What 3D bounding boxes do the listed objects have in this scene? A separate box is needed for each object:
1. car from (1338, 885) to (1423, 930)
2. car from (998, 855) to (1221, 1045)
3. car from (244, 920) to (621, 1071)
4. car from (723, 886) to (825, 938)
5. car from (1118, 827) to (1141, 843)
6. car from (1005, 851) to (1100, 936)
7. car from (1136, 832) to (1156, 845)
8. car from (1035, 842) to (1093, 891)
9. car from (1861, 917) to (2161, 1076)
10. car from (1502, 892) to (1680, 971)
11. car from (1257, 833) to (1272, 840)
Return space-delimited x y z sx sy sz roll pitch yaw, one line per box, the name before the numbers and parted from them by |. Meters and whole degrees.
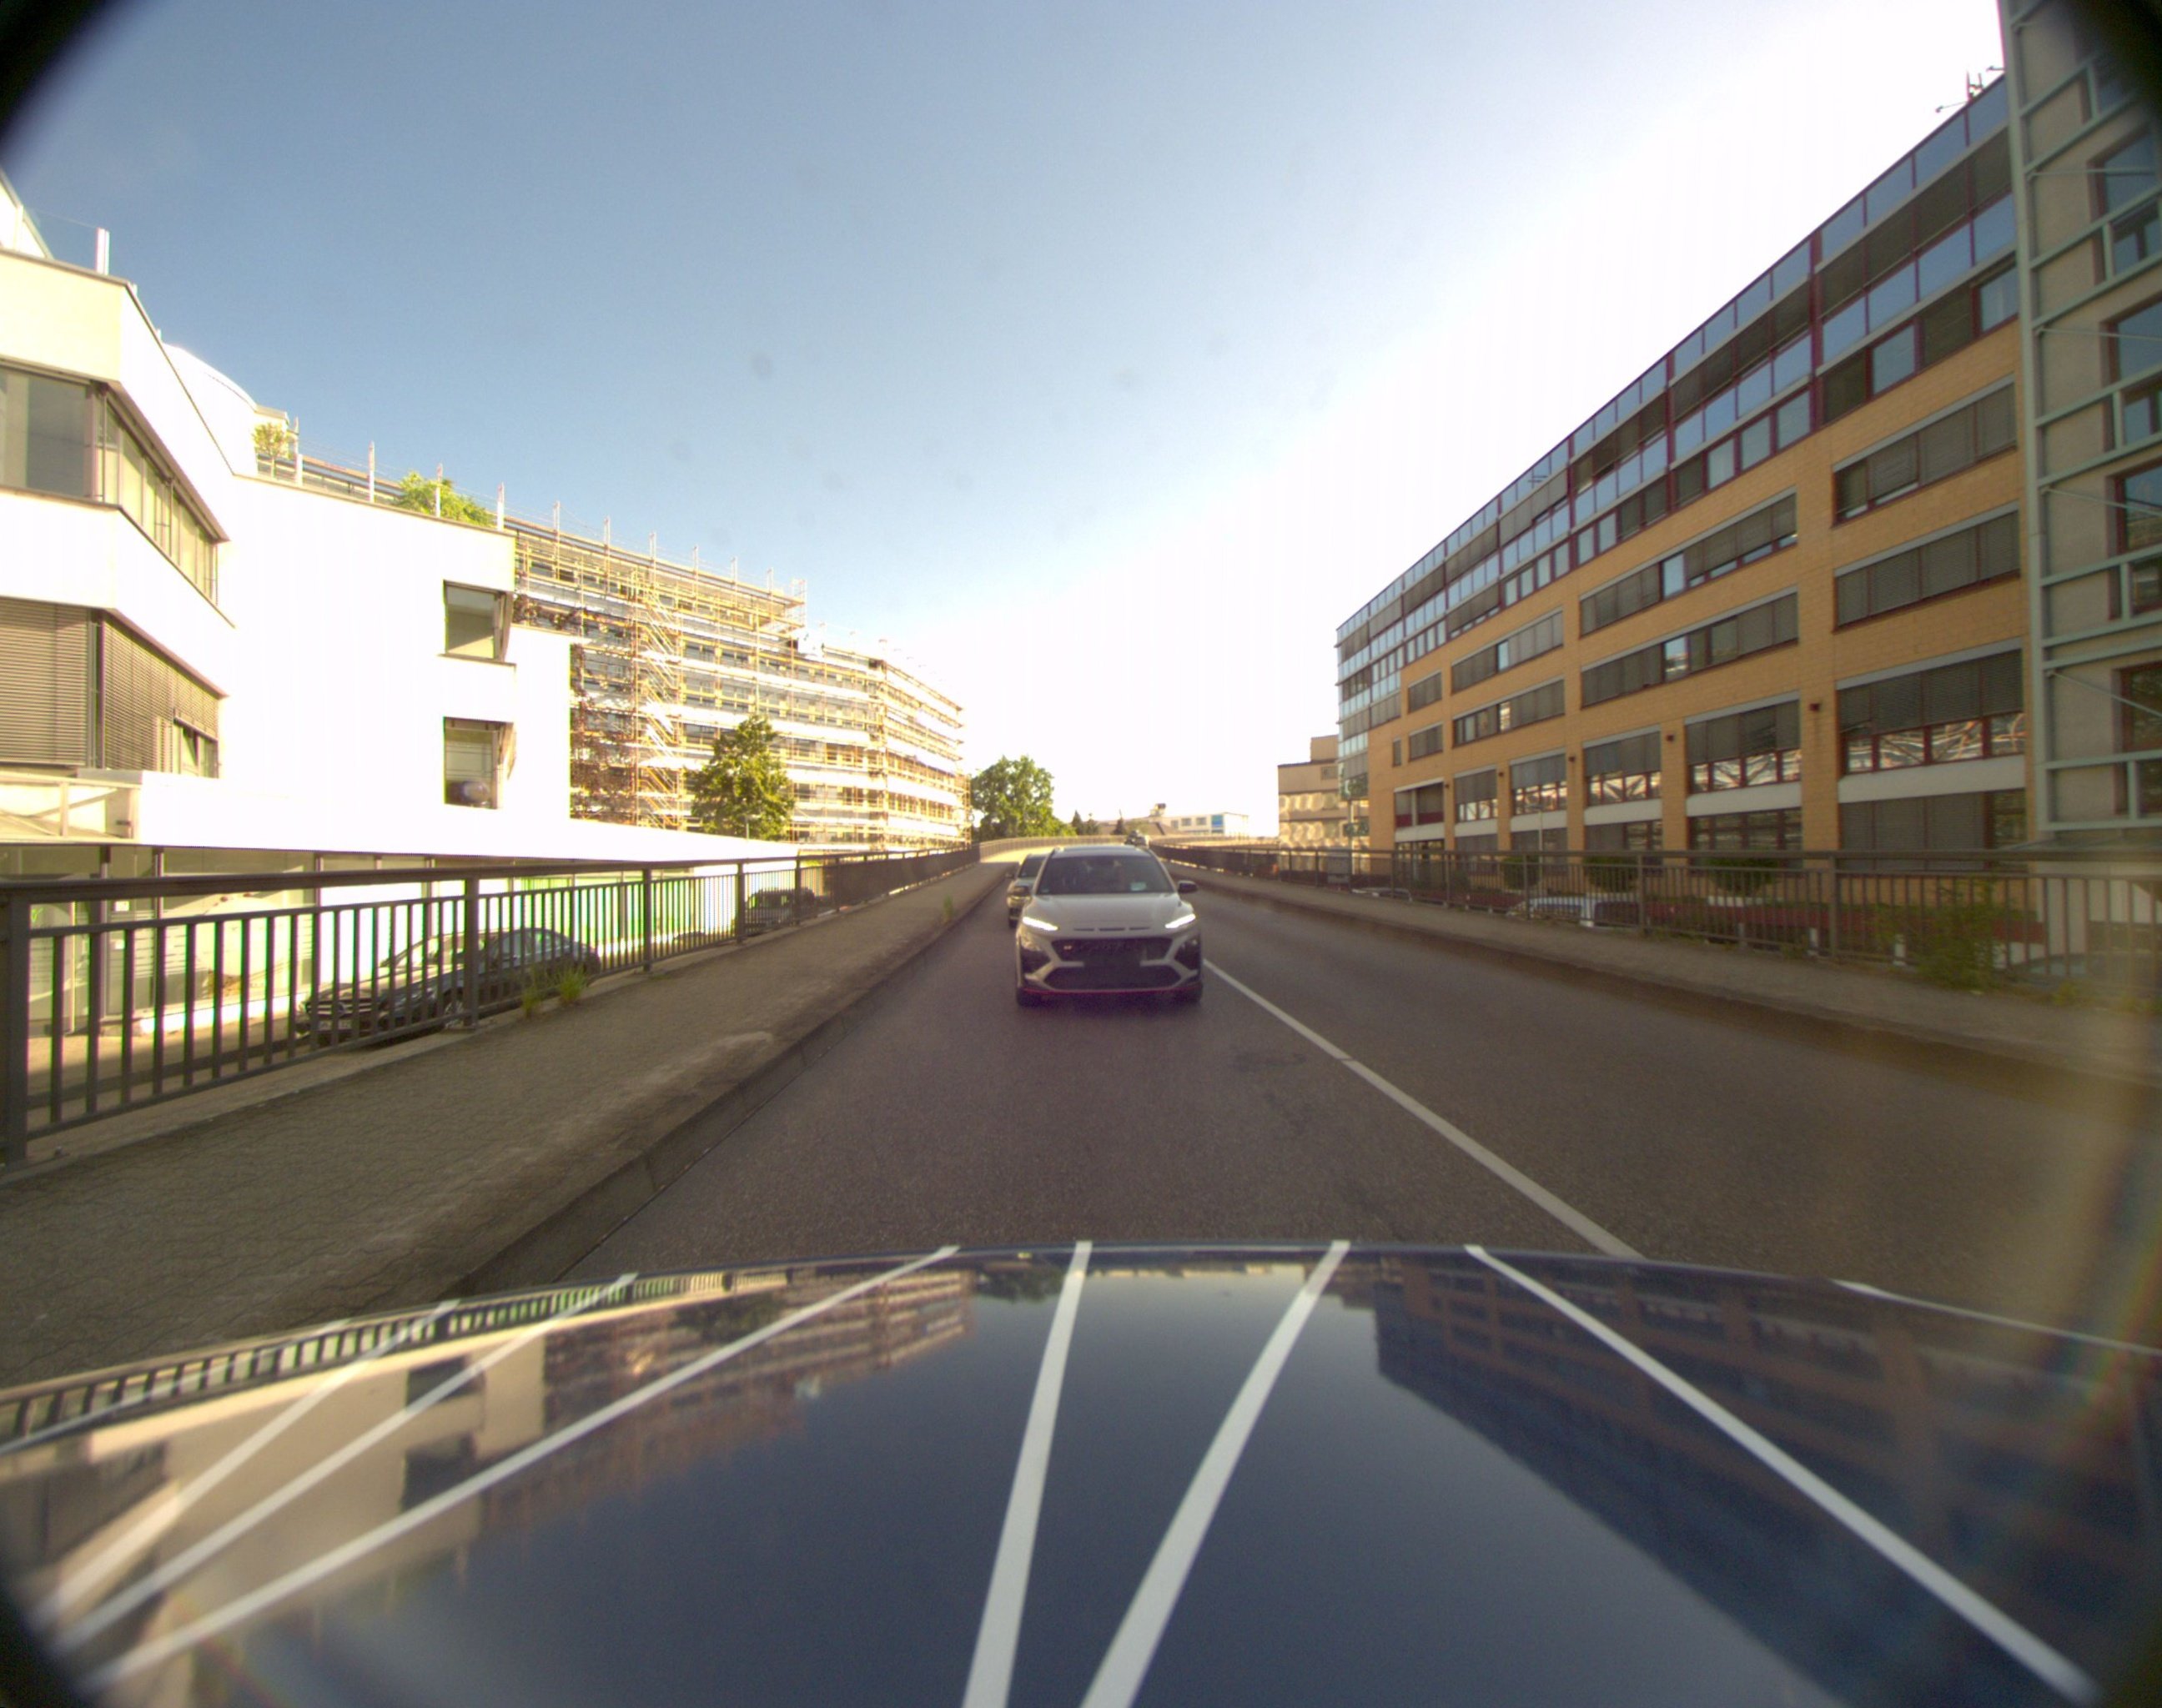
car | 12.472 2.194 31.892 1.998 1.652 4.001 0 -1 0
car | 0.226 0.815 8.543 1.849 1.561 4.220 -1 0 -1
car | -9.723 2.023 12.077 1.849 1.422 4.682 -2 1 2
car | -10.384 1.928 26.044 1.849 1.526 4.001 0 -1 0
car | 6.933 -2.699 108.185 1.906 2.202 4.604 1 3 21
car | -0.516 0.728 16.190 1.721 1.483 4.168 -2 1 0
car | 8.435 -1.954 98.386 1.822 1.594 4.005 -1 0 17
car | -0.634 0.385 26.939 1.849 1.527 4.506 -2 1 -2
car | 13.264 1.765 9.802 1.825 1.594 4.356 0 -1 -3
car | 13.126 1.925 19.916 1.998 1.714 4.001 0 -1 0
car | 35.458 -3.354 147.007 1.696 1.327 4.008 -1 0 32
